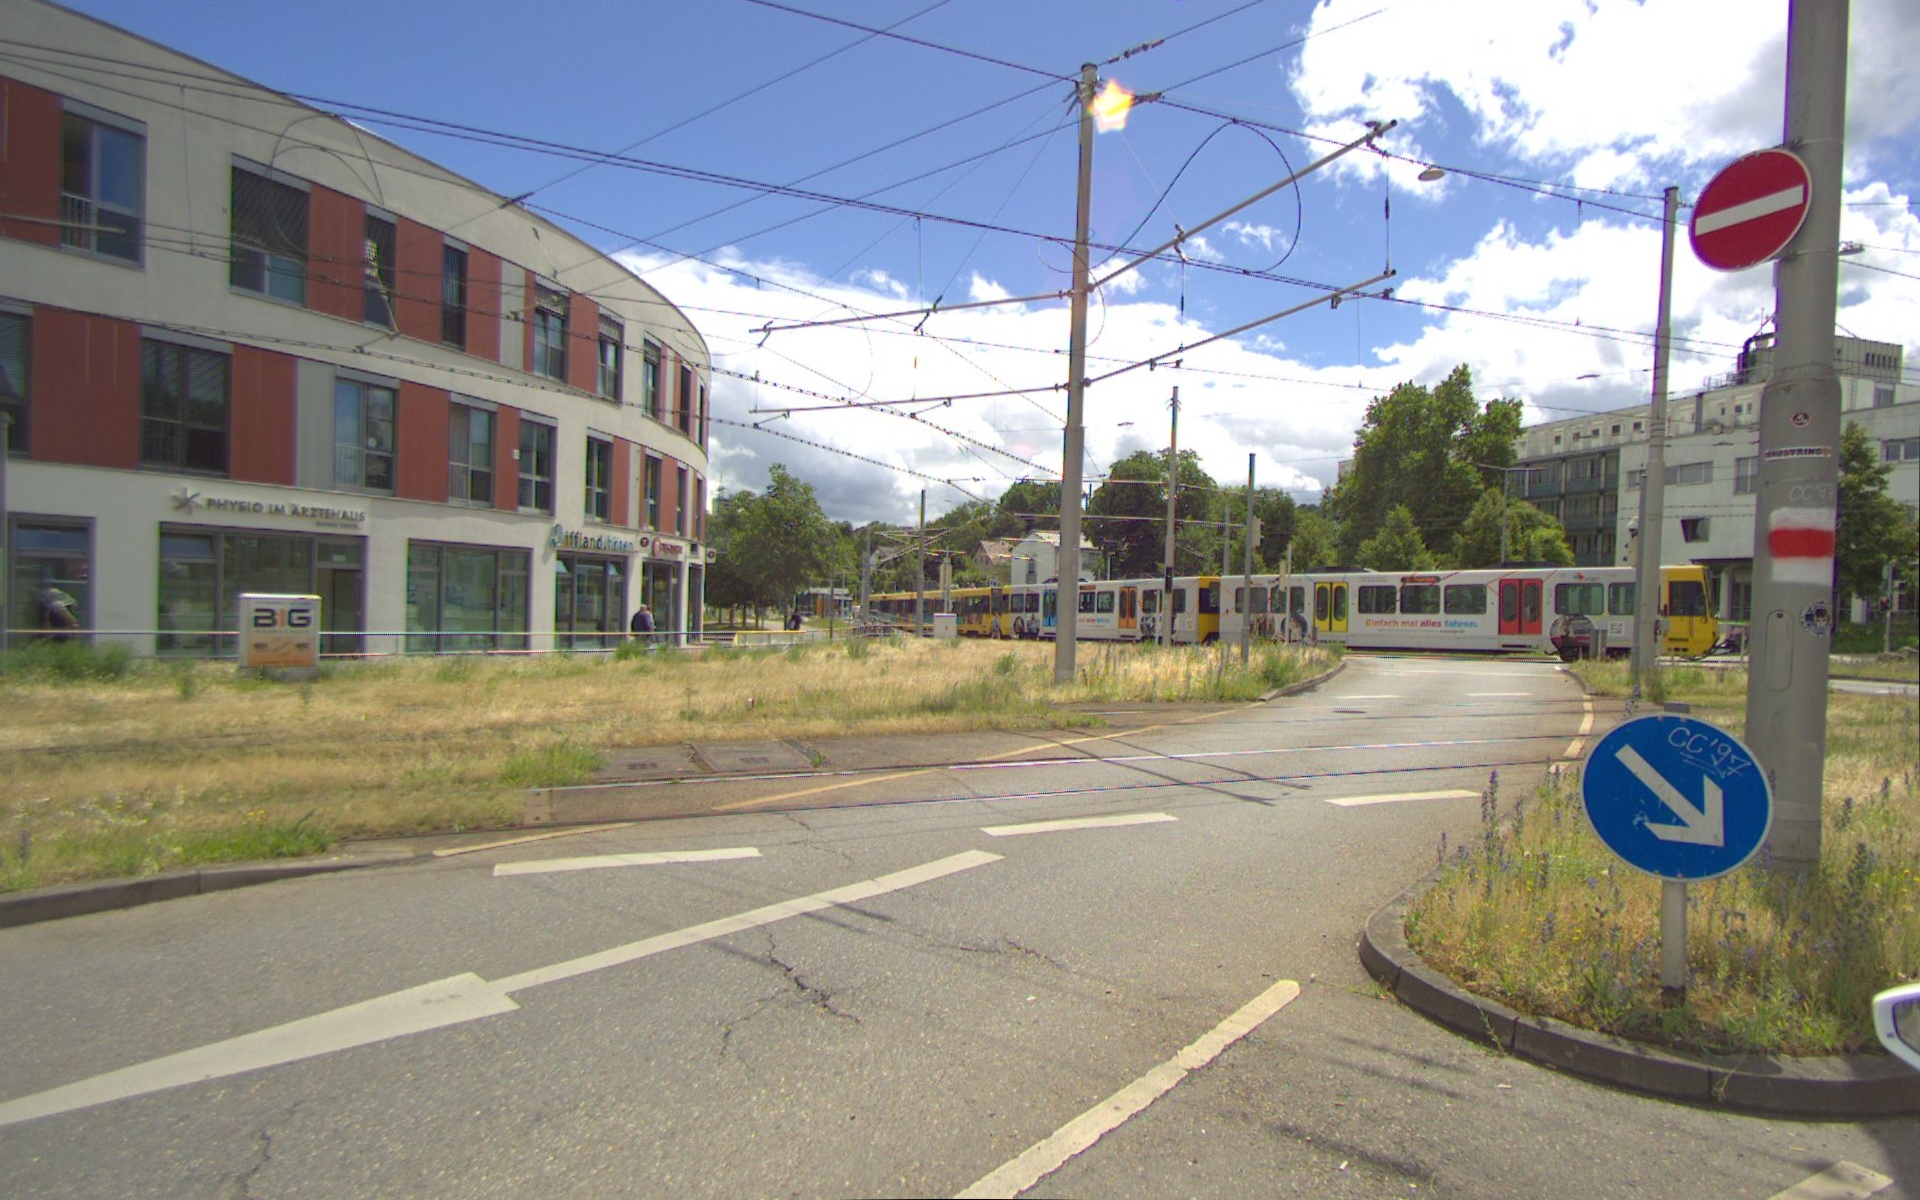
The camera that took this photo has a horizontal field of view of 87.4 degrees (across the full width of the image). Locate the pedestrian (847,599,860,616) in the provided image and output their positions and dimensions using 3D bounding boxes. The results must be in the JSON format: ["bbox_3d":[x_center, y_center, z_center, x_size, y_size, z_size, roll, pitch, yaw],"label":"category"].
[{"bbox_3d":[-12.857,0.915,121.029,1.241,2.040,1.121,2,-1,-19],"label":"pedestrian"}]

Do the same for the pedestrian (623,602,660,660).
[{"bbox_3d":[-8.995,0.872,28.366,0.721,1.601,0.691,1,0,19],"label":"pedestrian"}]

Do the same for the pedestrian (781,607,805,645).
[{"bbox_3d":[-7.465,1.163,44.961,0.847,1.646,0.733,1,-1,7],"label":"pedestrian"}]

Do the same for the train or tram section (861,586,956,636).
[{"bbox_3d":[-5.054,1.082,90.544,3.702,3.970,18.822,2,-2,-18],"label":"train or tram section"}]

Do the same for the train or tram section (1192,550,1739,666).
[{"bbox_3d":[19.399,0.329,41.176,19.748,3.864,3.744,0,-2,40],"label":"train or tram section"}]

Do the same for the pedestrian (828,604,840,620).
[{"bbox_3d":[-16.790,1.601,133.803,1.241,2.040,1.121,2,-1,-19],"label":"pedestrian"}]

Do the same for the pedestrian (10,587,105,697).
[{"bbox_3d":[-16.946,0.774,18.875,0.850,1.994,1.112,0,-2,36],"label":"pedestrian"}]

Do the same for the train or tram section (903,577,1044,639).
[{"bbox_3d":[0.380,0.731,74.193,3.704,3.880,20.063,2,-2,-19],"label":"train or tram section"}]

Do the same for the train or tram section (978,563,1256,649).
[{"bbox_3d":[7.690,0.443,56.275,3.716,3.930,20.480,2,-2,-29],"label":"train or tram section"}]

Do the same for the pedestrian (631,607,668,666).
[{"bbox_3d":[-10.835,1.269,35.062,0.847,1.994,1.106,1,-1,2],"label":"pedestrian"}]

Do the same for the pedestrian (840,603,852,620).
[{"bbox_3d":[-14.182,1.435,125.408,1.241,2.040,1.121,2,-1,-19],"label":"pedestrian"}]
